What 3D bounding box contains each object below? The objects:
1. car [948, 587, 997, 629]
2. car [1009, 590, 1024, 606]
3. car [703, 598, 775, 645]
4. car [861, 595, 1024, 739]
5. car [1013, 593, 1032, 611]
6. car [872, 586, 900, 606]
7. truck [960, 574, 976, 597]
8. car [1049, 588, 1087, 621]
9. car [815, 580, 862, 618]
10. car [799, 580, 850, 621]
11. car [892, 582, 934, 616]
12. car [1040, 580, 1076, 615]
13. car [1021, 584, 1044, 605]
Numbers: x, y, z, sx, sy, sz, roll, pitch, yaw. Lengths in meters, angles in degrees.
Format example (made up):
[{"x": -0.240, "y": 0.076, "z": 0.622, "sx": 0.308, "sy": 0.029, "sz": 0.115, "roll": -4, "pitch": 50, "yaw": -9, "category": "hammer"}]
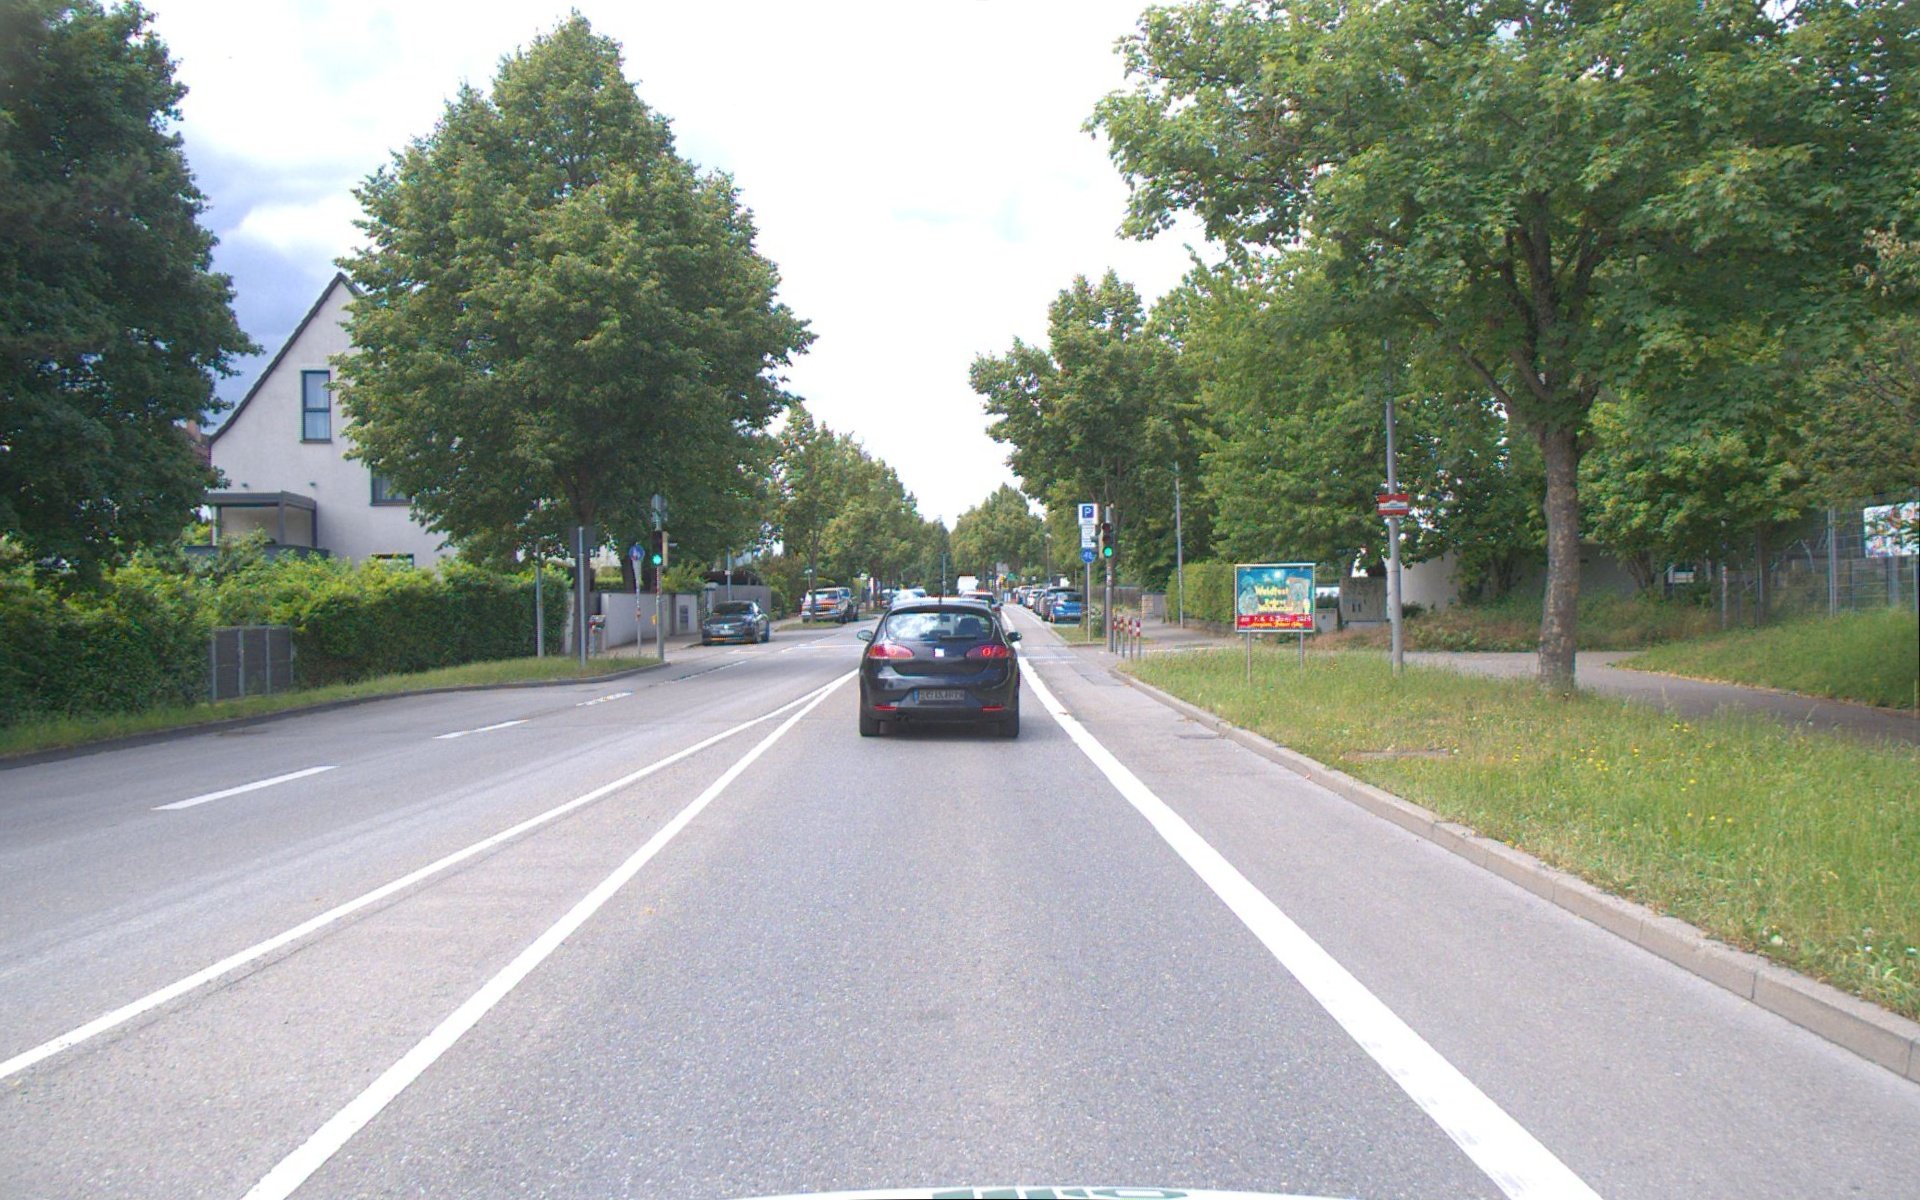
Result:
[{"x": 0.508, "y": 0.289, "z": 63.229, "sx": 1.808, "sy": 1.536, "sz": 3.812, "roll": 1, "pitch": 0, "yaw": 1, "category": "car"}, {"x": 6.702, "y": -0.267, "z": 195.747, "sx": 1.653, "sy": 1.908, "sz": 4.214, "roll": -1, "pitch": 0, "yaw": 0, "category": "car"}, {"x": -7.427, "y": 0.696, "z": 56.001, "sx": 1.683, "sy": 1.419, "sz": 4.801, "roll": -3, "pitch": 0, "yaw": 0, "category": "car"}, {"x": -0.200, "y": 0.672, "z": 18.532, "sx": 1.629, "sy": 1.426, "sz": 3.811, "roll": 1, "pitch": 0, "yaw": -1, "category": "car"}, {"x": 5.766, "y": 0.217, "z": 152.488, "sx": 1.653, "sy": 1.591, "sz": 4.214, "roll": -1, "pitch": 0, "yaw": 0, "category": "car"}, {"x": -6.381, "y": -0.350, "z": 142.556, "sx": 2.057, "sy": 1.532, "sz": 5.784, "roll": -3, "pitch": 0, "yaw": 0, "category": "car"}, {"x": 1.092, "y": -1.975, "z": 230.872, "sx": 2.232, "sy": 3.158, "sz": 8.510, "roll": 1, "pitch": 0, "yaw": 0, "category": "truck"}, {"x": 5.183, "y": 0.211, "z": 79.662, "sx": 1.653, "sy": 1.516, "sz": 3.355, "roll": -1, "pitch": 0, "yaw": 0, "category": "car"}, {"x": -6.779, "y": -0.071, "z": 92.776, "sx": 2.057, "sy": 1.929, "sz": 5.784, "roll": -3, "pitch": 0, "yaw": 0, "category": "car"}, {"x": -6.934, "y": -0.001, "z": 85.293, "sx": 2.057, "sy": 1.929, "sz": 5.784, "roll": -3, "pitch": 0, "yaw": 0, "category": "car"}, {"x": -2.422, "y": -0.060, "z": 86.230, "sx": 1.836, "sy": 1.663, "sz": 4.342, "roll": -3, "pitch": 0, "yaw": 2, "category": "car"}, {"x": 5.008, "y": -0.149, "z": 84.900, "sx": 1.653, "sy": 1.741, "sz": 4.214, "roll": -1, "pitch": 0, "yaw": 0, "category": "car"}, {"x": 5.590, "y": -0.407, "z": 128.166, "sx": 1.653, "sy": 1.591, "sz": 4.214, "roll": -1, "pitch": 0, "yaw": 0, "category": "car"}]
